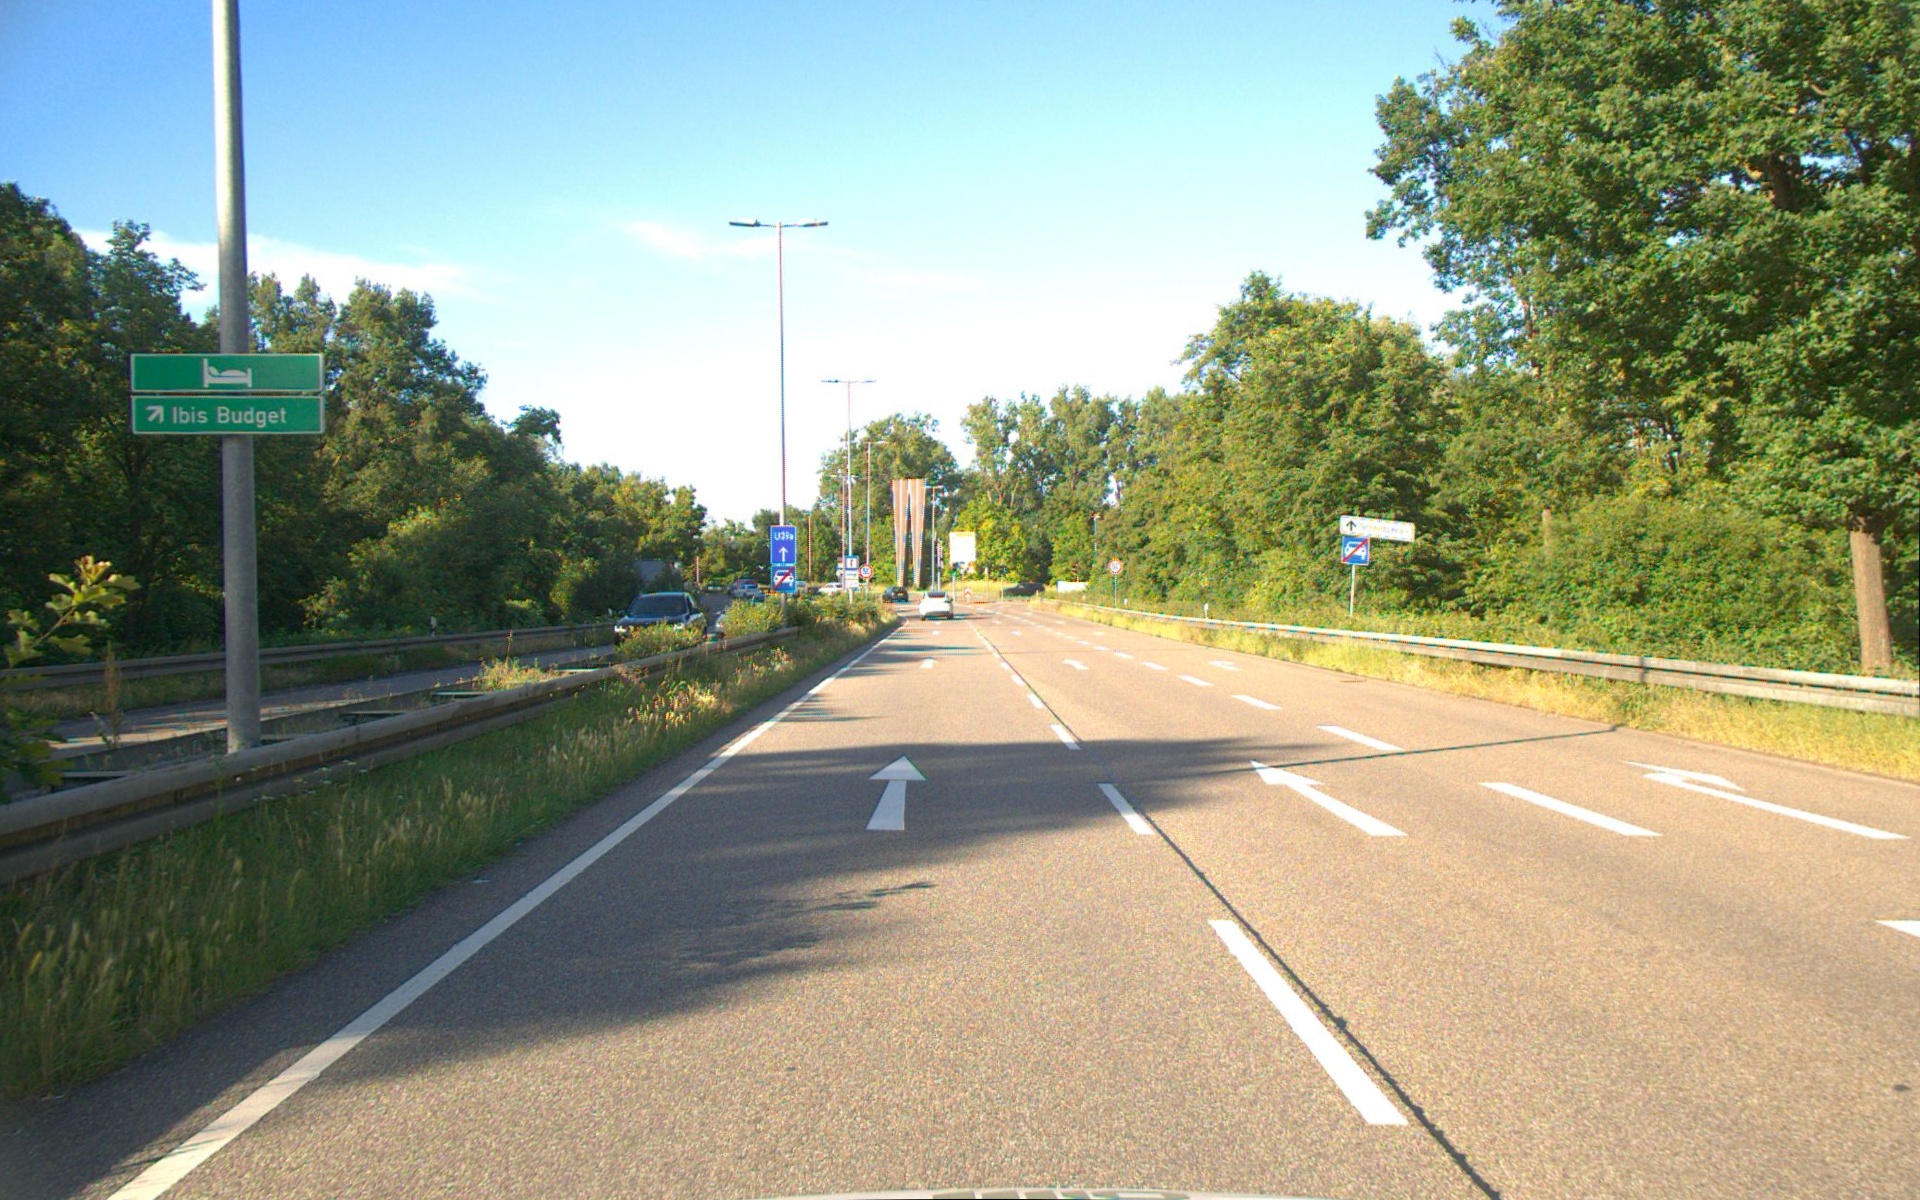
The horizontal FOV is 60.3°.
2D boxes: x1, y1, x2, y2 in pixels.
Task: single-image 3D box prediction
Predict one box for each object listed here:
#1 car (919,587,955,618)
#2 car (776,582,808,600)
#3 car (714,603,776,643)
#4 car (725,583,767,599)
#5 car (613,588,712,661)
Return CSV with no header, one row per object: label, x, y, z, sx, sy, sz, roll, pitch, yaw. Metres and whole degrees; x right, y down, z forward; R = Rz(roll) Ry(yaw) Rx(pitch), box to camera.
car,-1.347,0.140,96.624,1.953,1.668,4.126,-1,1,-2
car,-16.710,-0.918,164.170,1.945,1.728,3.967,-2,2,-26
car,-7.898,0.822,61.137,1.737,1.380,4.461,-1,0,-1
car,-22.312,-0.906,172.416,3.928,1.534,2.260,-1,0,42
car,-7.562,0.583,42.478,1.749,1.740,4.546,-1,0,-1
